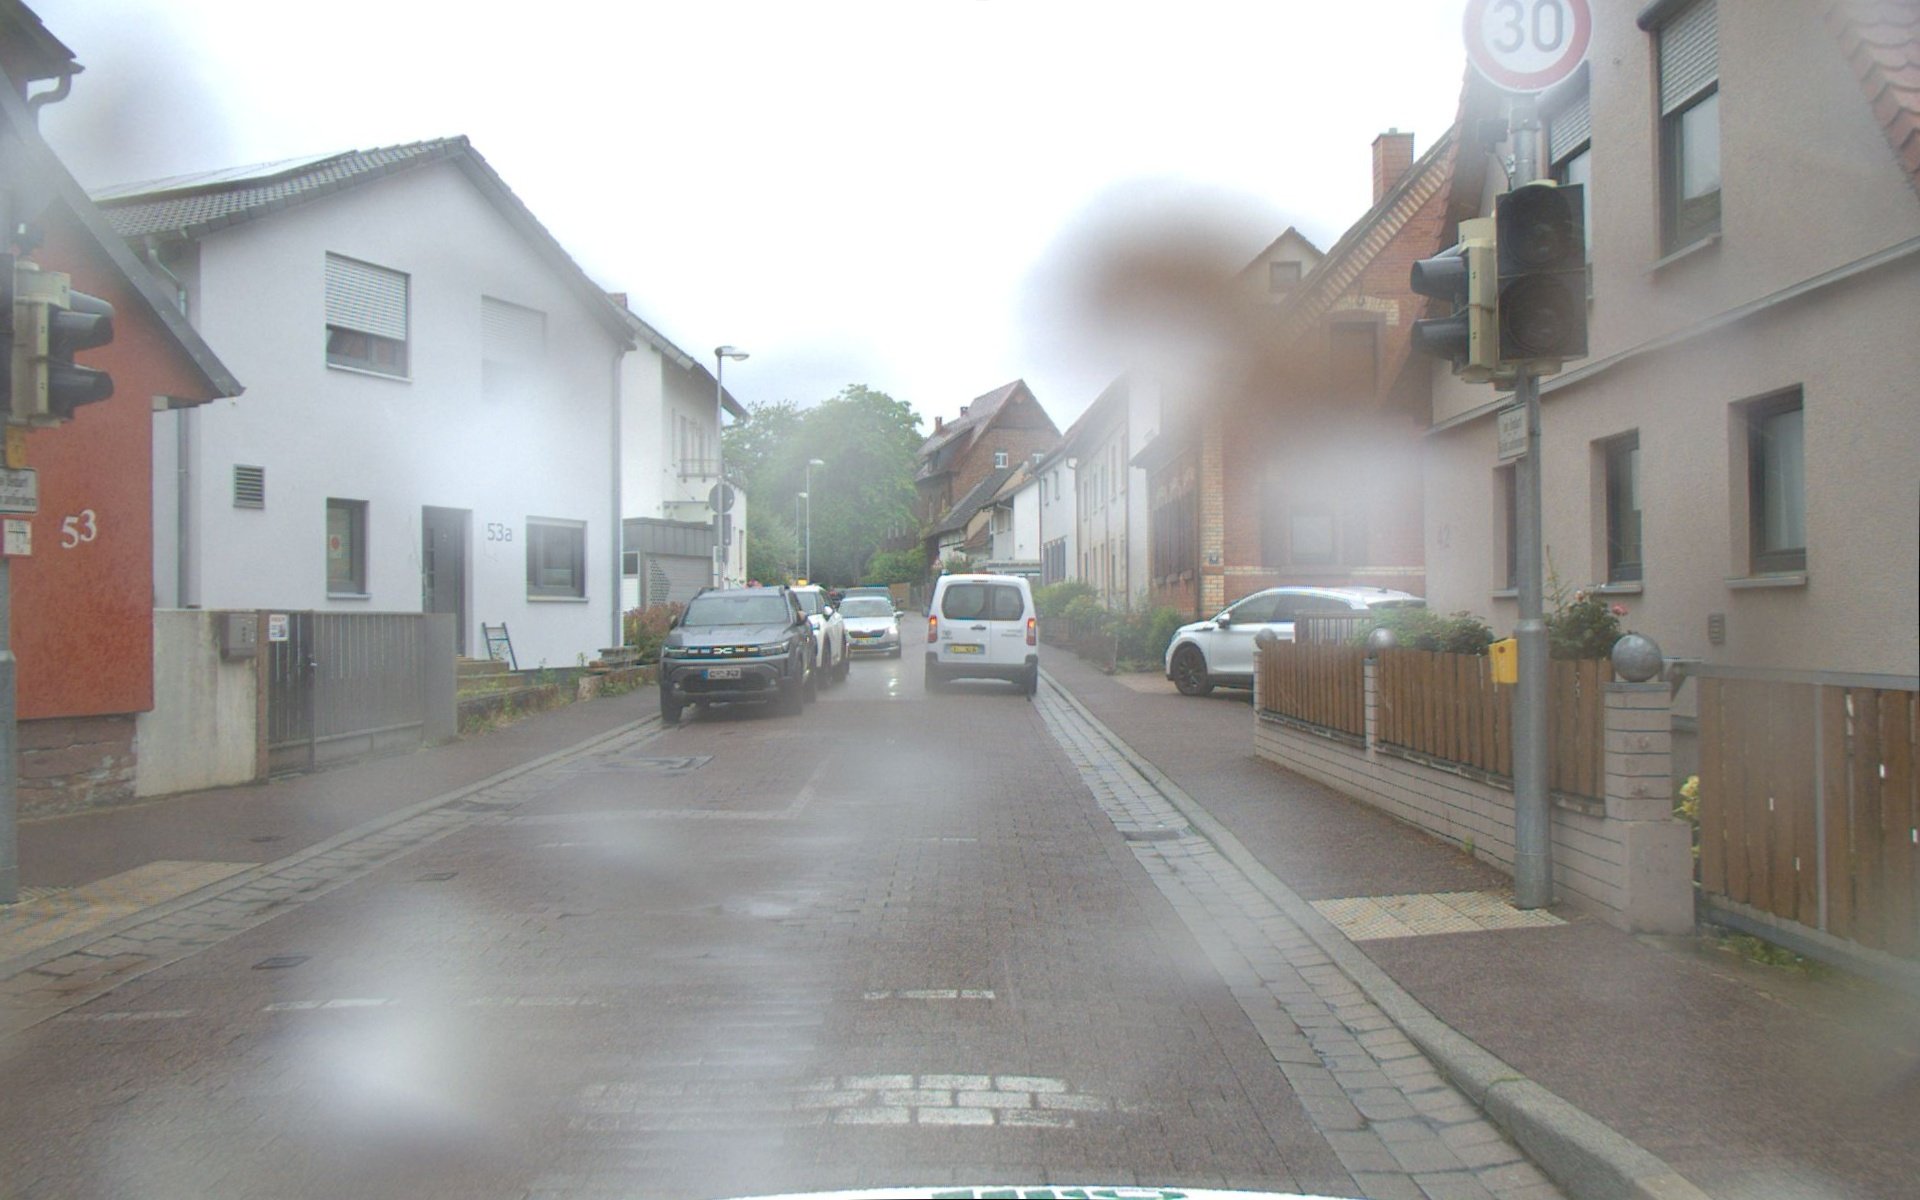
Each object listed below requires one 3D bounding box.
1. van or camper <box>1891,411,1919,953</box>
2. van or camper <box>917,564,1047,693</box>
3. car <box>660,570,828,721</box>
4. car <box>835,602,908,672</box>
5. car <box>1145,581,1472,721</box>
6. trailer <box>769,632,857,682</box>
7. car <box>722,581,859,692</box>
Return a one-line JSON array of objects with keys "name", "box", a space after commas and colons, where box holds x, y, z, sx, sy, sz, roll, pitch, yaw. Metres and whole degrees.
[{"name": "van or camper", "box": [5.988, 0.362, 5.324, 4.968, 1.956, 1.875, 2, 0, -3]}, {"name": "van or camper", "box": [0.328, 0.415, 26.760, 1.904, 1.883, 4.000, 1, 0, 0]}, {"name": "car", "box": [-2.790, 0.524, 22.162, 1.775, 1.810, 4.016, -1, 1, -1]}, {"name": "car", "box": [-2.246, 0.957, 41.069, 1.656, 1.592, 3.929, -1, -3, -5]}, {"name": "car", "box": [4.755, 0.619, 23.240, 1.853, 1.617, 4.569, 0, 2, -32]}, {"name": "trailer", "box": [-2.803, 1.084, 31.973, 1.453, 0.843, 2.675, -2, -1, 0]}, {"name": "car", "box": [-2.799, 0.598, 28.262, 1.712, 1.665, 4.419, -3, -1, 1]}]
